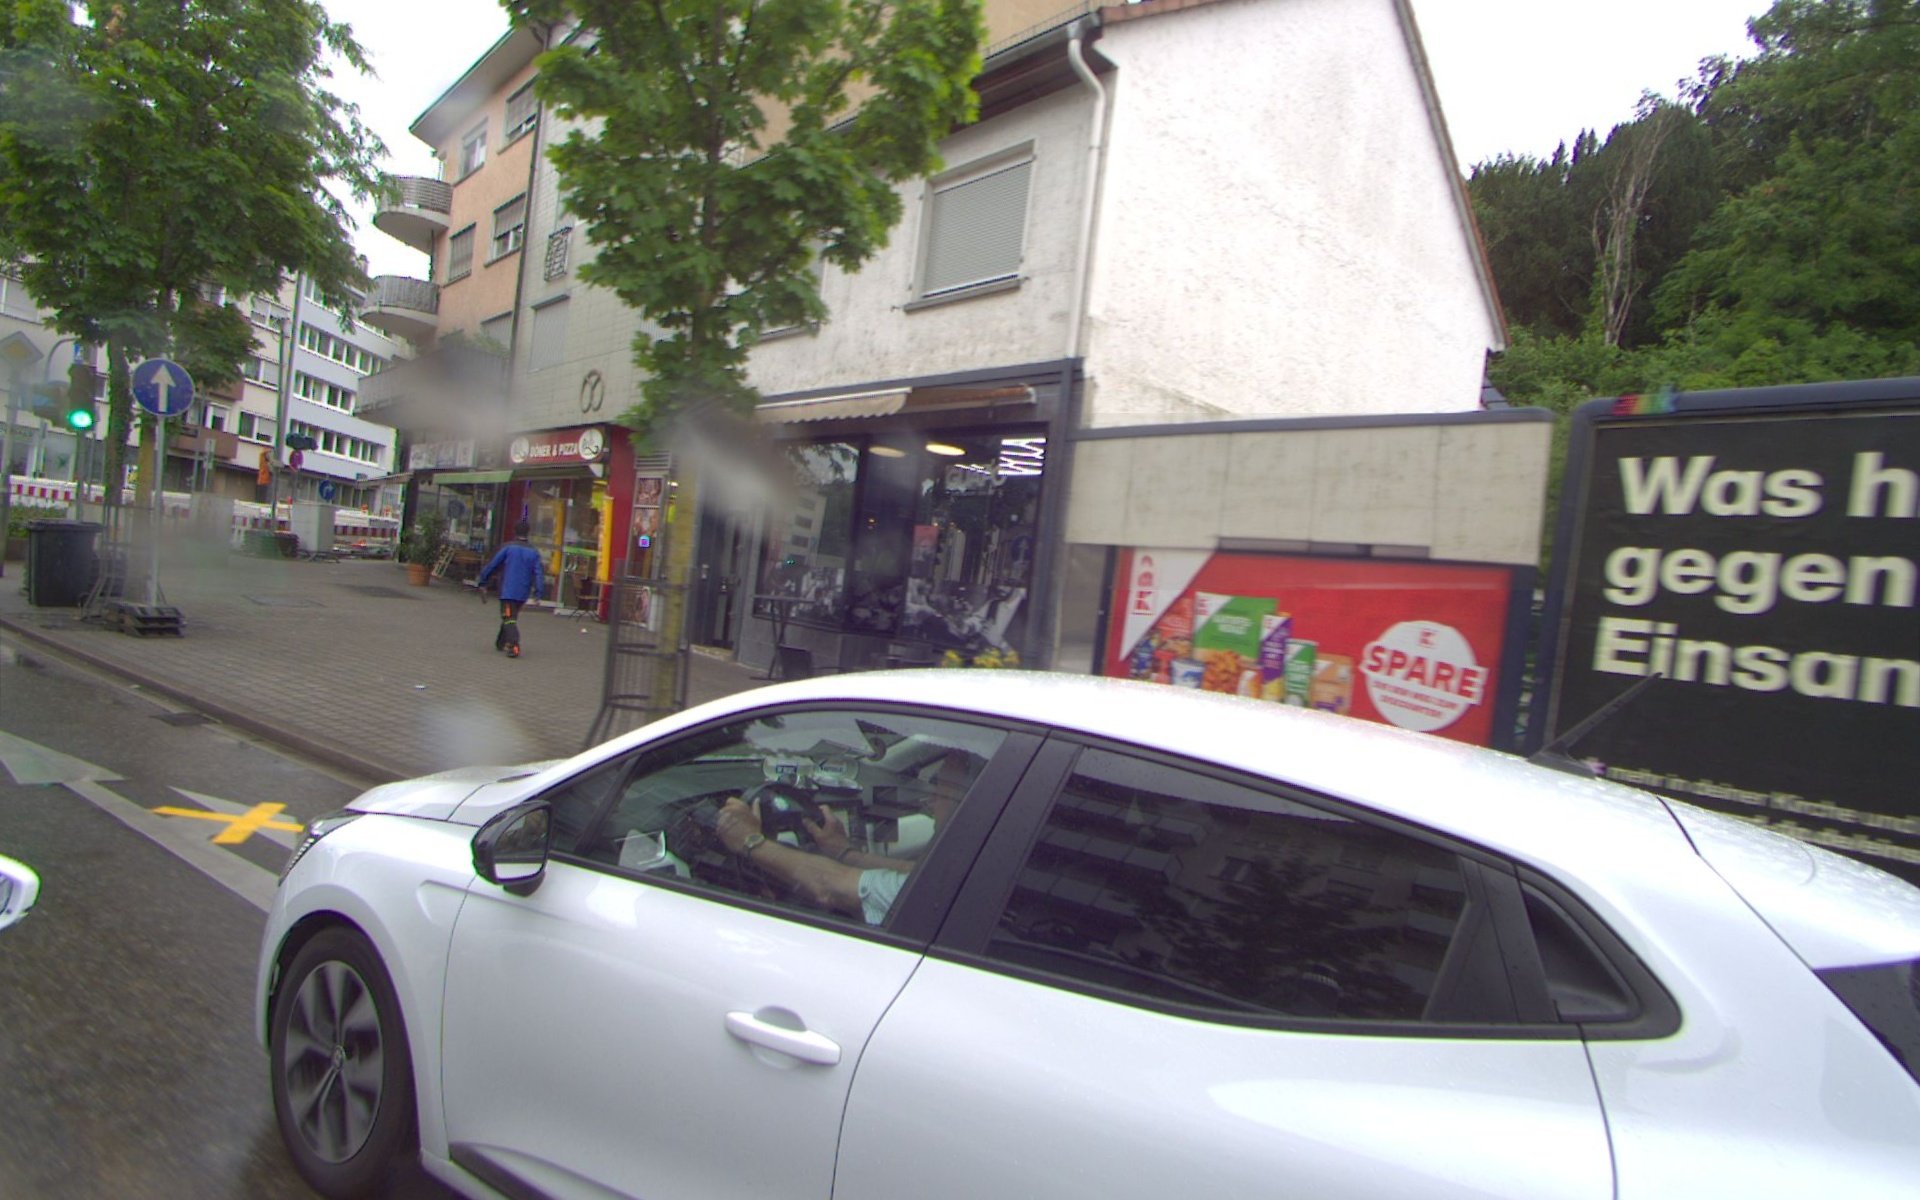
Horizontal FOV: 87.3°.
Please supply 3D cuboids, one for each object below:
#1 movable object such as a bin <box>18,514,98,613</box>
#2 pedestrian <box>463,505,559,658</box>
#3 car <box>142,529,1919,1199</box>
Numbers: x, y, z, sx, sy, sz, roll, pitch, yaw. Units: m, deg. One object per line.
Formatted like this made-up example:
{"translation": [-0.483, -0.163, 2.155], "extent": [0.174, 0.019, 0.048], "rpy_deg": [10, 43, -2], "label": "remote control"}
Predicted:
{"translation": [-11.247, -0.454, 12.545], "extent": [0.655, 1.126, 0.577], "rpy_deg": [9, 4, 36], "label": "movable object such as a bin"}
{"translation": [-5.692, -0.231, 12.735], "extent": [0.958, 1.816, 0.899], "rpy_deg": [3, 3, -29], "label": "pedestrian"}
{"translation": [-0.112, 0.749, 2.481], "extent": [3.933, 1.422, 1.677], "rpy_deg": [7, 2, 31], "label": "car"}
